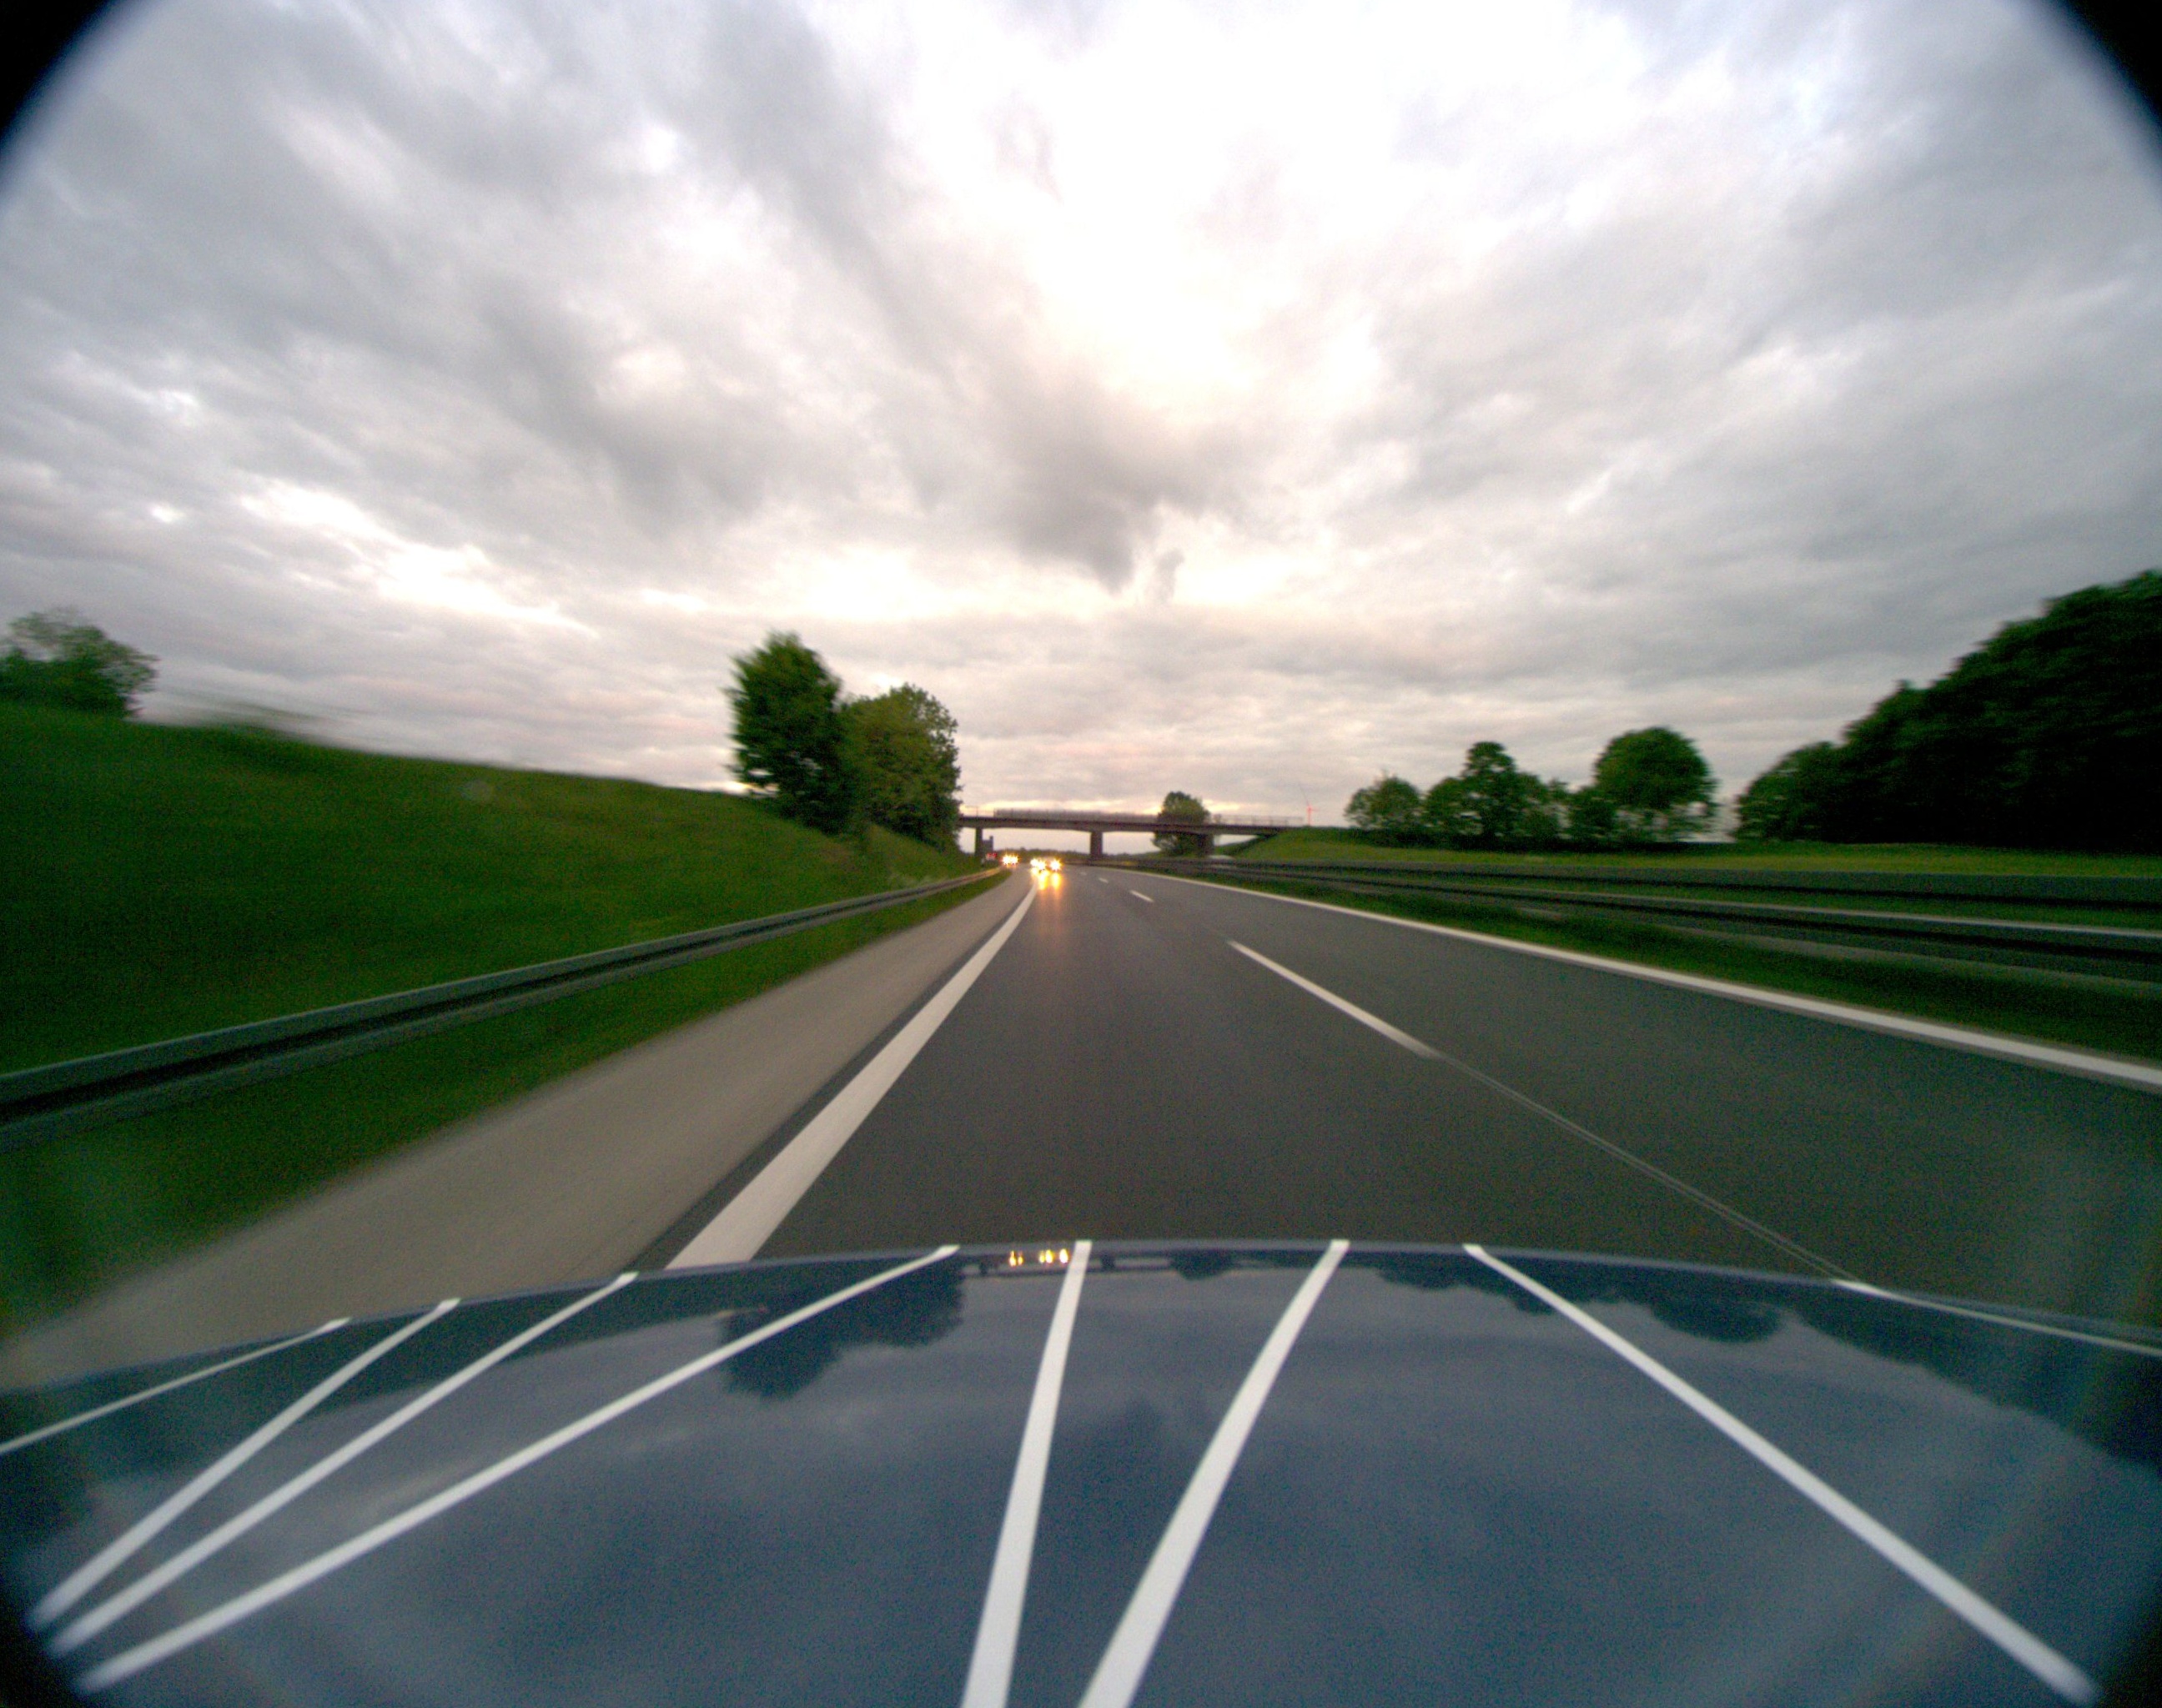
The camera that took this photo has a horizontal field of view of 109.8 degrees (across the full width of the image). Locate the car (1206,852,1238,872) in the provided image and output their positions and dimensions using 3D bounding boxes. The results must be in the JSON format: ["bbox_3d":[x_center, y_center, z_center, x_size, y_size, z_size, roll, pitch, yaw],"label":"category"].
[{"bbox_3d":[12.062,0.678,65.199,1.758,1.630,4.476,0,0,-3],"label":"car"}]

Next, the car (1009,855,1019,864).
[{"bbox_3d":[-13.903,1.154,156.892,1.921,1.826,3.998,1,-1,-7],"label":"car"}]

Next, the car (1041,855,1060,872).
[{"bbox_3d":[-2.881,0.846,71.332,1.682,1.504,3.998,0,0,-4],"label":"car"}]
